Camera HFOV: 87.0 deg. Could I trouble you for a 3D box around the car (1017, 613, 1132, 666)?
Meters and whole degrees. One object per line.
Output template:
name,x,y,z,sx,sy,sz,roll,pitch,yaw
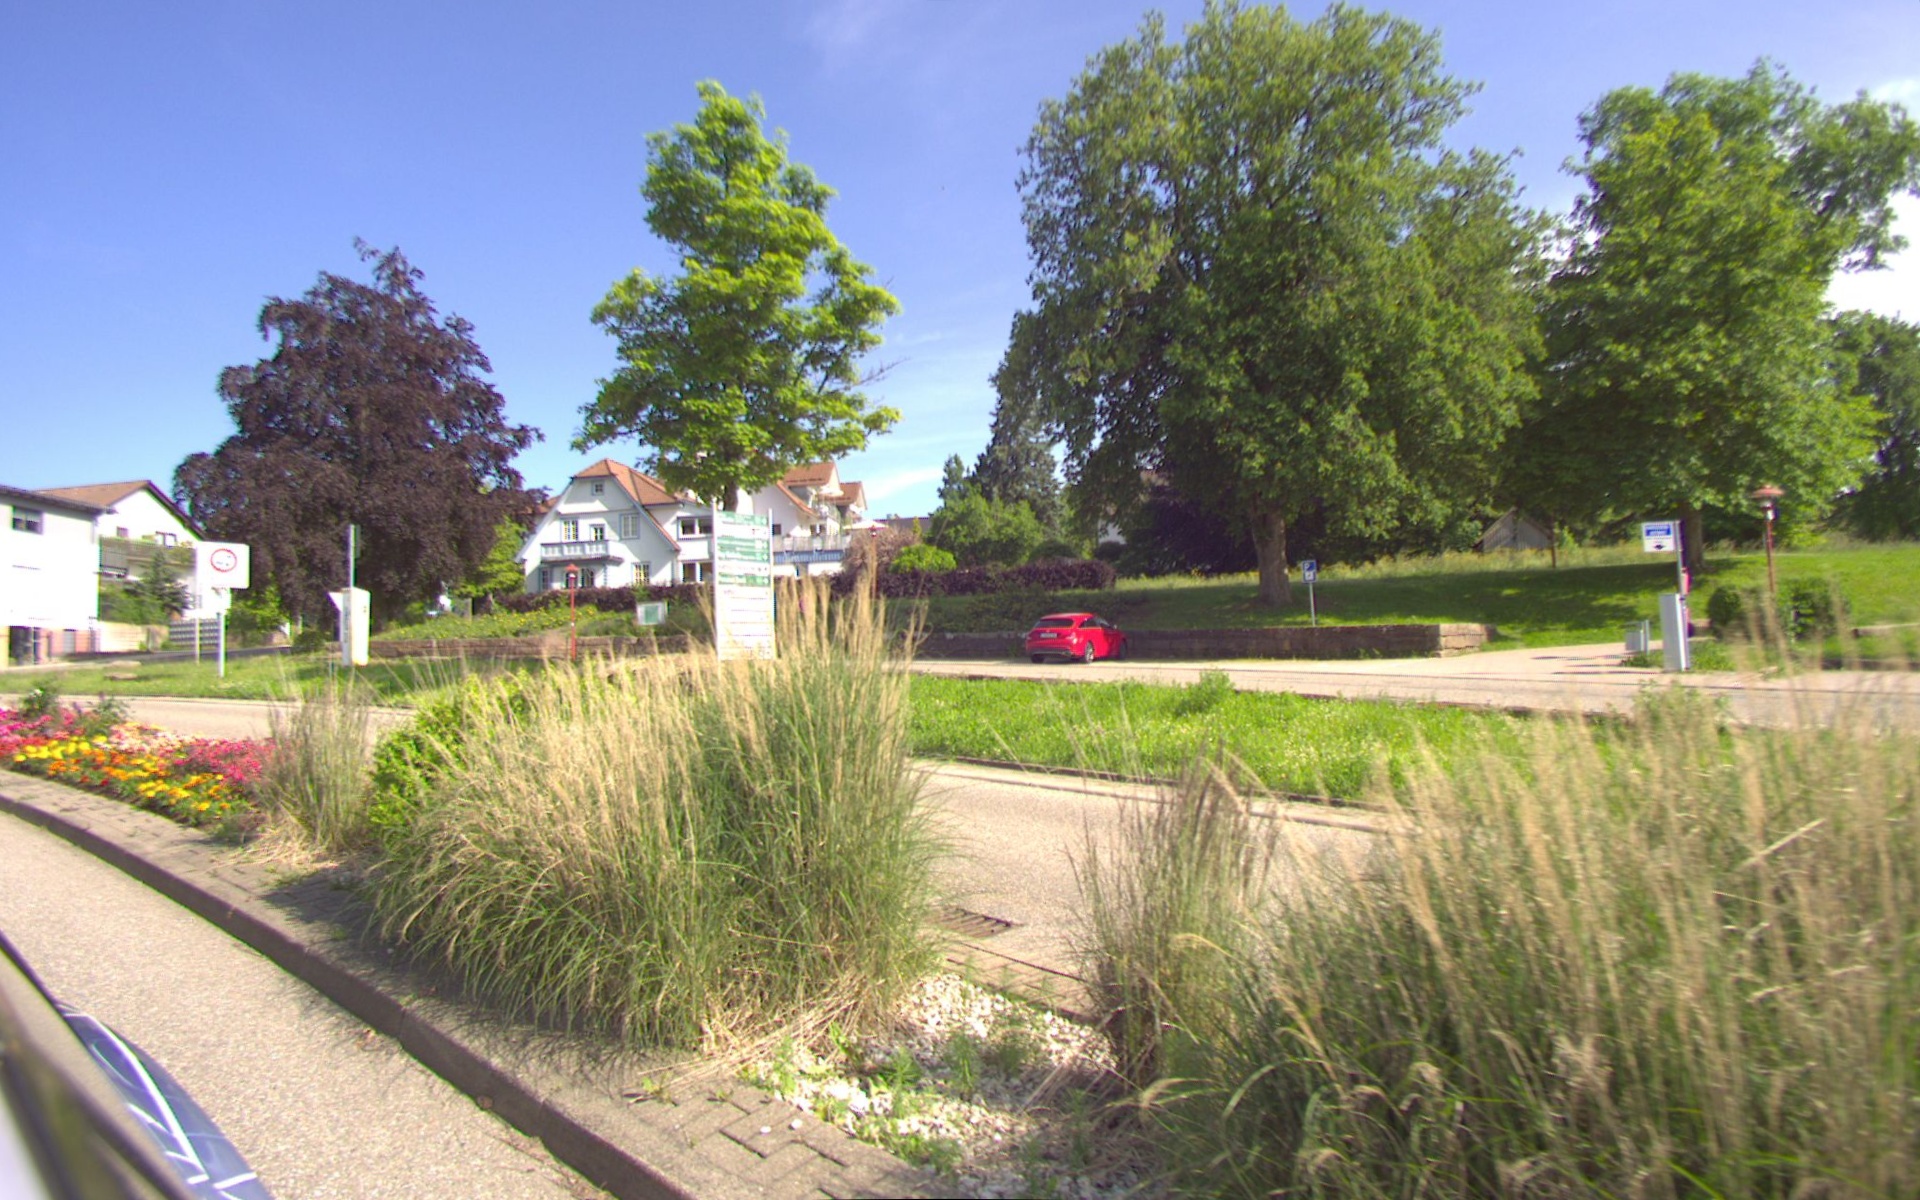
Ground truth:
car,3.445,1.133,29.800,1.817,1.409,4.194,-2,-1,30

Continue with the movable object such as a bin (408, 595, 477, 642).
movable object such as a bin,-32.584,1.169,63.895,1.970,2.790,5.109,-1,-1,-4
